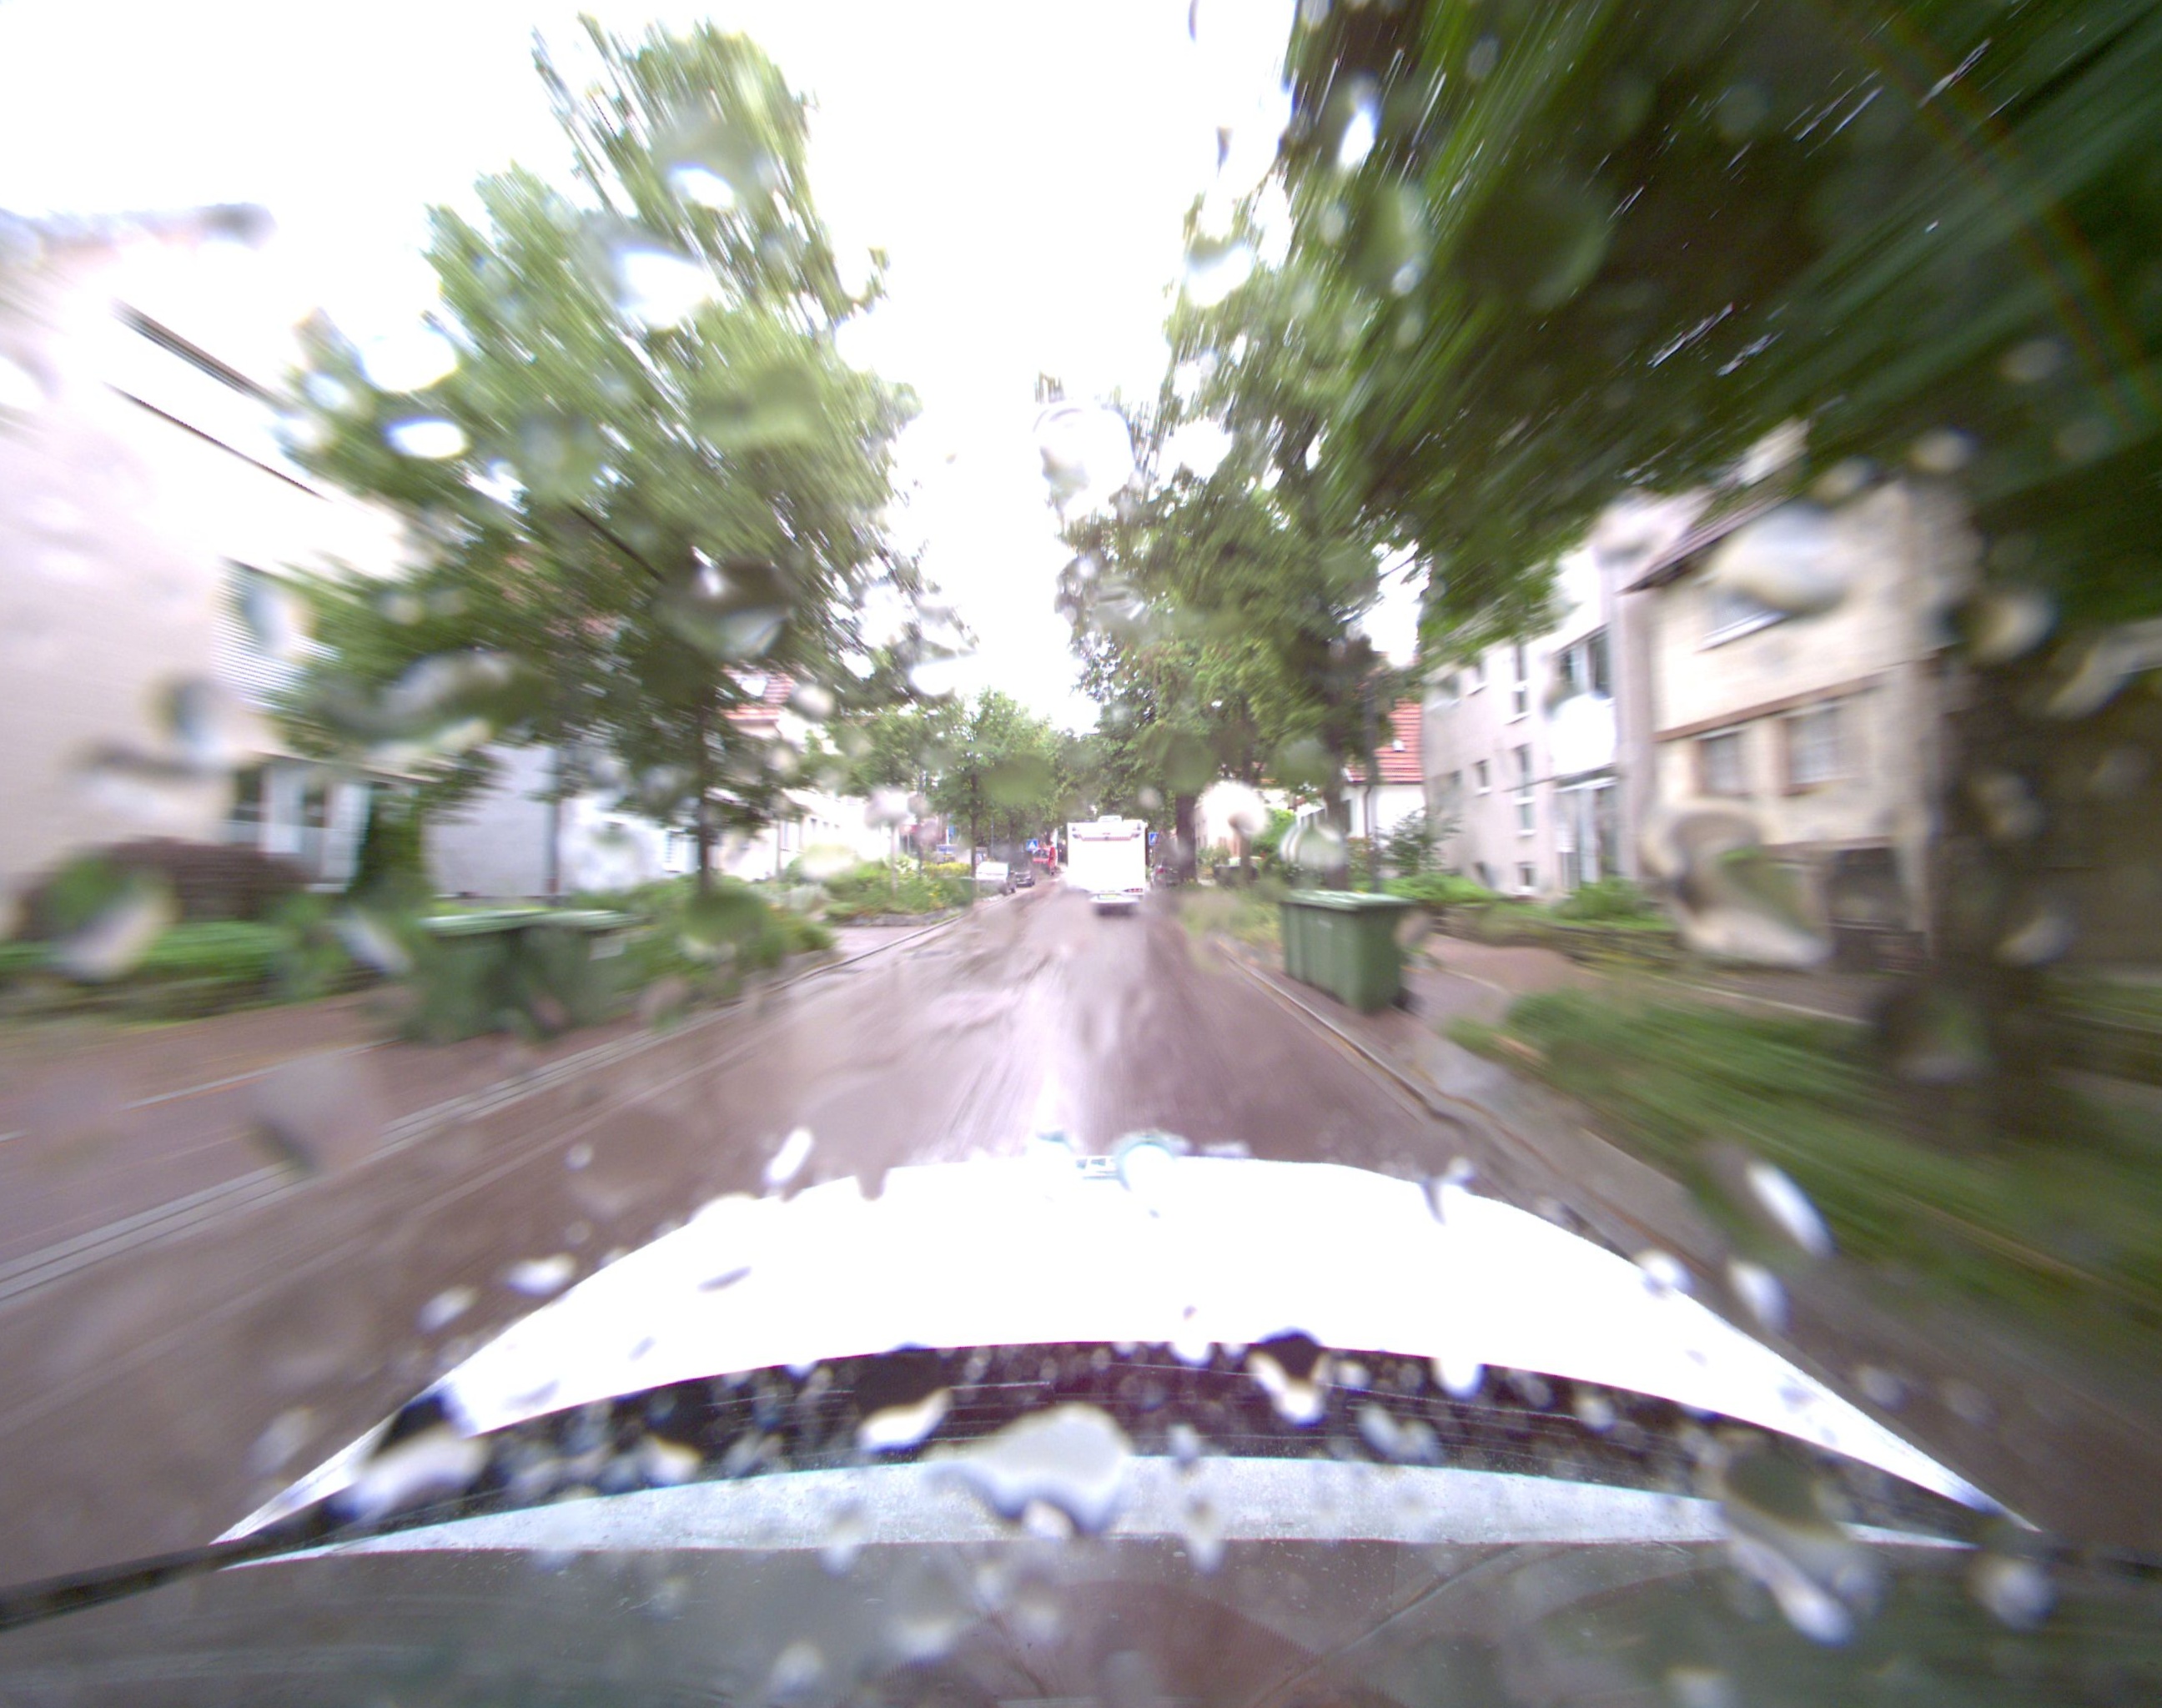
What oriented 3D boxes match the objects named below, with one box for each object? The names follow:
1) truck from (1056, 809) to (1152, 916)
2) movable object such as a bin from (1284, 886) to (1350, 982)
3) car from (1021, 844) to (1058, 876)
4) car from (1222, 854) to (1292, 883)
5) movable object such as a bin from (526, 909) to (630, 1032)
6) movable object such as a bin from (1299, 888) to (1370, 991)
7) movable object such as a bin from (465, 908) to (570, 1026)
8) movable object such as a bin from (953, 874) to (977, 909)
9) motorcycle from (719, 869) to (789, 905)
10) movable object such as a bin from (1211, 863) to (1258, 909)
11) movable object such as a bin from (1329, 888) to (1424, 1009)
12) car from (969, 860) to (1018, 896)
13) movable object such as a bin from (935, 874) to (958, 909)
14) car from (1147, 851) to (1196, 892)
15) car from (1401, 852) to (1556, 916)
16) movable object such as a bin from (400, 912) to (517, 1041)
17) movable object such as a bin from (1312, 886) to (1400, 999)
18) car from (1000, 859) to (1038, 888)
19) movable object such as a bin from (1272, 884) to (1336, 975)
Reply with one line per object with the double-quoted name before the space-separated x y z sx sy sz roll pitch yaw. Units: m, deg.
"truck" 0.738 0.279 25.894 2.684 2.986 6.238 0 -1 2
"movable object such as a bin" 2.761 0.925 9.553 0.629 1.082 0.471 0 -1 -3
"car" -3.401 0.451 67.445 2.293 2.483 5.792 0 1 4
"car" 9.360 0.771 43.456 3.356 1.430 1.629 -2 0 -2
"movable object such as a bin" -4.740 1.081 7.701 0.592 1.062 0.546 2 0 5
"movable object such as a bin" 2.792 0.924 8.995 0.608 1.082 0.512 0 -1 -3
"movable object such as a bin" -5.447 1.074 7.895 0.592 1.063 0.546 1 -1 5
"movable object such as a bin" -3.771 1.210 26.514 0.640 1.111 0.536 -1 0 3
"motorcycle" -10.793 1.095 26.943 1.975 1.162 0.818 0 -1 1
"movable object such as a bin" 4.546 0.930 24.201 1.219 1.315 1.135 -1 -1 4
"movable object such as a bin" 2.781 0.869 7.712 0.686 1.082 0.540 0 -1 -3
"car" -4.032 1.079 38.091 1.640 1.533 3.869 0 0 4
"movable object such as a bin" -4.442 1.237 26.879 0.608 1.111 0.564 -1 0 3
"car" 4.133 0.780 37.848 1.907 1.792 4.490 0 0 1
"car" 13.865 1.030 28.601 4.446 1.900 2.000 3 -1 0
"movable object such as a bin" -5.519 1.066 7.242 0.592 1.063 0.546 0 -1 5
"movable object such as a bin" 2.793 0.881 8.311 0.686 1.082 0.540 -1 -1 -3
"car" -3.567 1.109 47.284 1.765 1.553 4.001 1 0 2
"movable object such as a bin" 2.765 0.921 10.137 0.642 1.082 0.540 0 -1 -3
